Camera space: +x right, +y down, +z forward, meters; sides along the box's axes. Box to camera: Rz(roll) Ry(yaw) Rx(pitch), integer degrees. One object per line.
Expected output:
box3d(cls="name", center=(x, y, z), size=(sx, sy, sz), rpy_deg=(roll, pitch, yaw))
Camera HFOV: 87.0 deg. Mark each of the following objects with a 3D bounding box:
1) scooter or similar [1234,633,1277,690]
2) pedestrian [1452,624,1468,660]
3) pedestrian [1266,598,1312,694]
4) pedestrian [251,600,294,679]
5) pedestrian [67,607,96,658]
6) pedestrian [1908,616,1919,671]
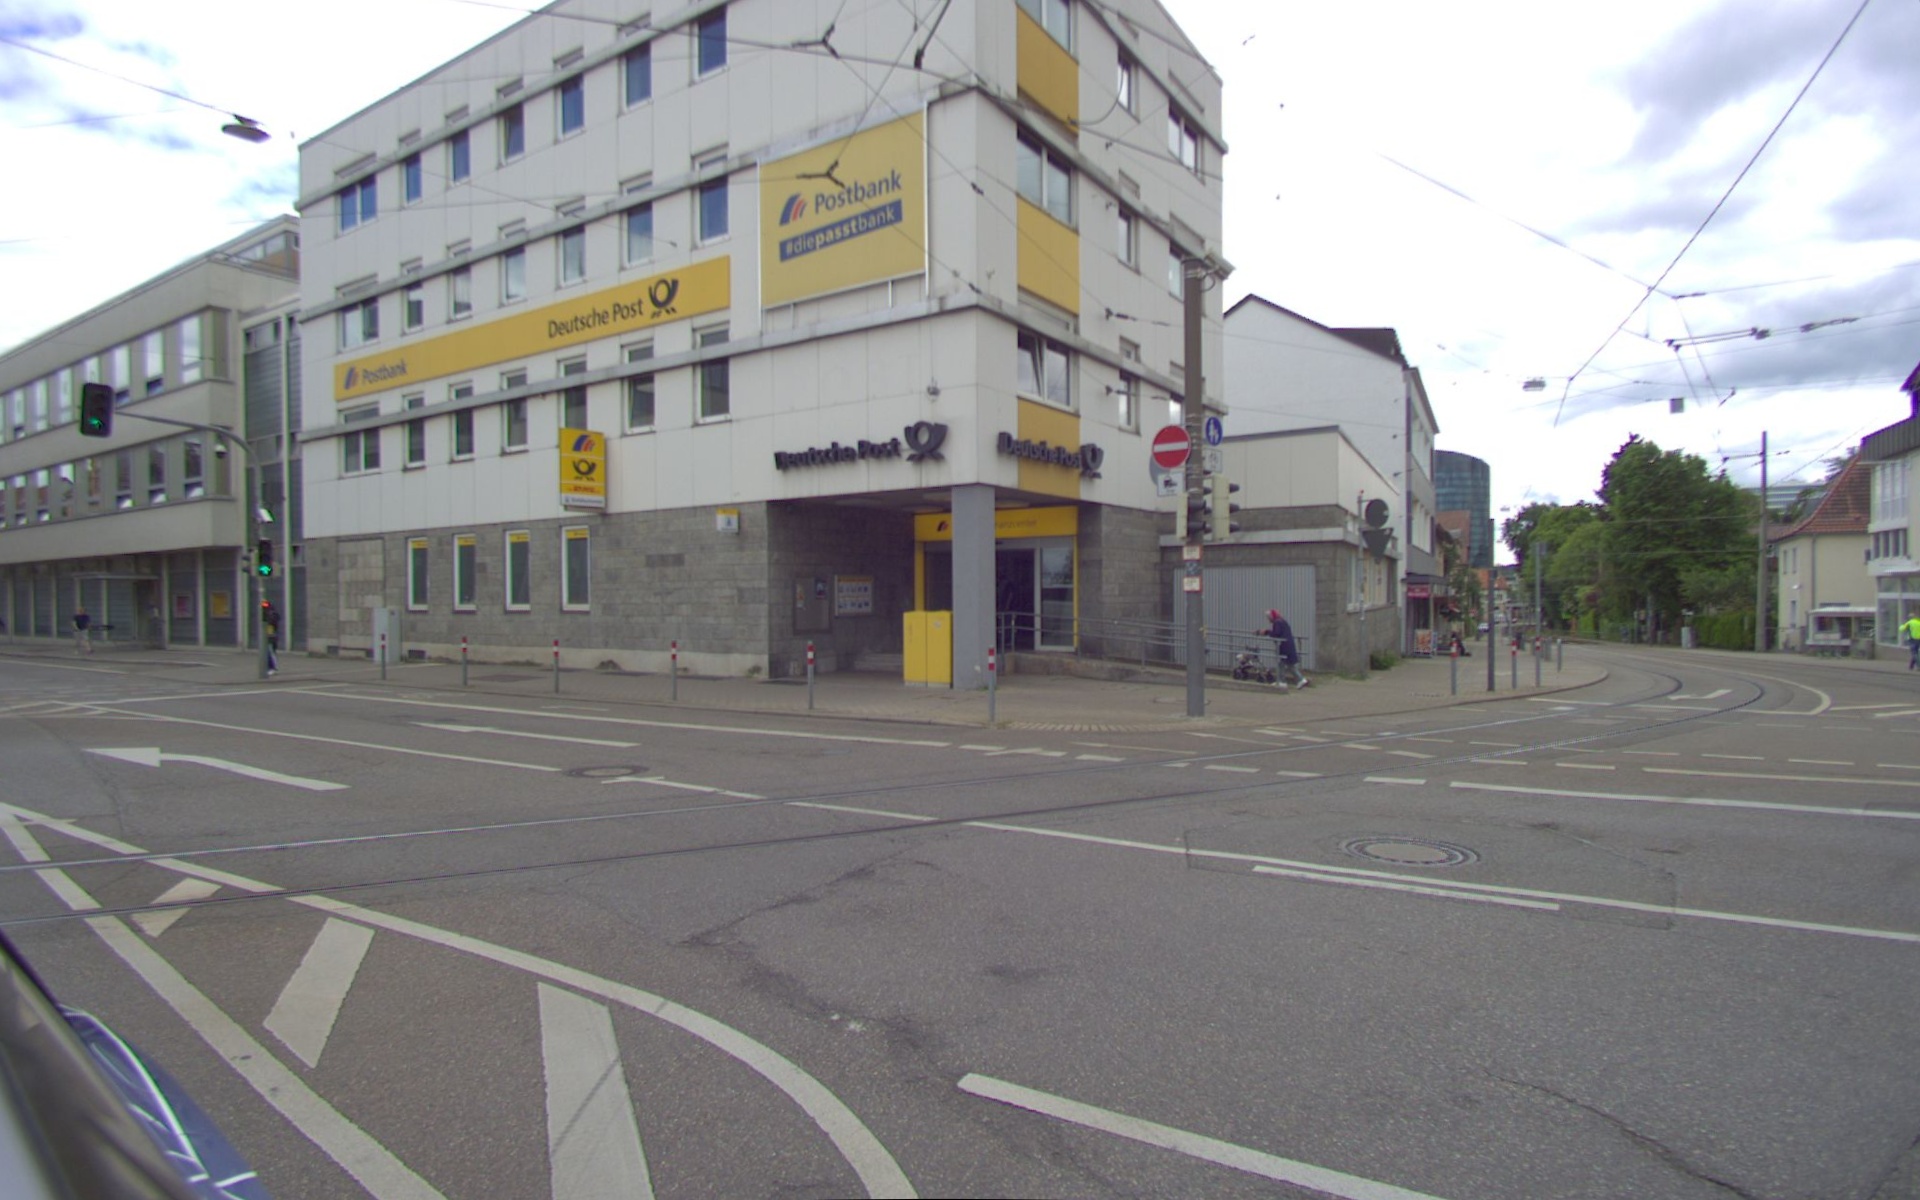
box3d(cls="scooter or similar", center=(5.320, 1.104, 18.208), size=(0.615, 0.984, 0.503), rpy_deg=(-1, 0, 31))
box3d(cls="pedestrian", center=(23.655, 2.000, 47.903), size=(0.612, 1.646, 0.689), rpy_deg=(-2, 2, 28))
box3d(cls="pedestrian", center=(5.809, 0.792, 17.849), size=(0.613, 1.647, 0.581), rpy_deg=(-1, -1, 34))
box3d(cls="pedestrian", center=(-16.227, 0.928, 23.880), size=(0.525, 1.816, 0.581), rpy_deg=(-2, 2, 34))
box3d(cls="pedestrian", center=(-32.284, 1.193, 37.199), size=(0.525, 1.816, 0.581), rpy_deg=(-2, 2, 34))
box3d(cls="pedestrian", center=(29.868, 1.334, 31.351), size=(0.585, 1.646, 0.609), rpy_deg=(-2, 2, 28))
